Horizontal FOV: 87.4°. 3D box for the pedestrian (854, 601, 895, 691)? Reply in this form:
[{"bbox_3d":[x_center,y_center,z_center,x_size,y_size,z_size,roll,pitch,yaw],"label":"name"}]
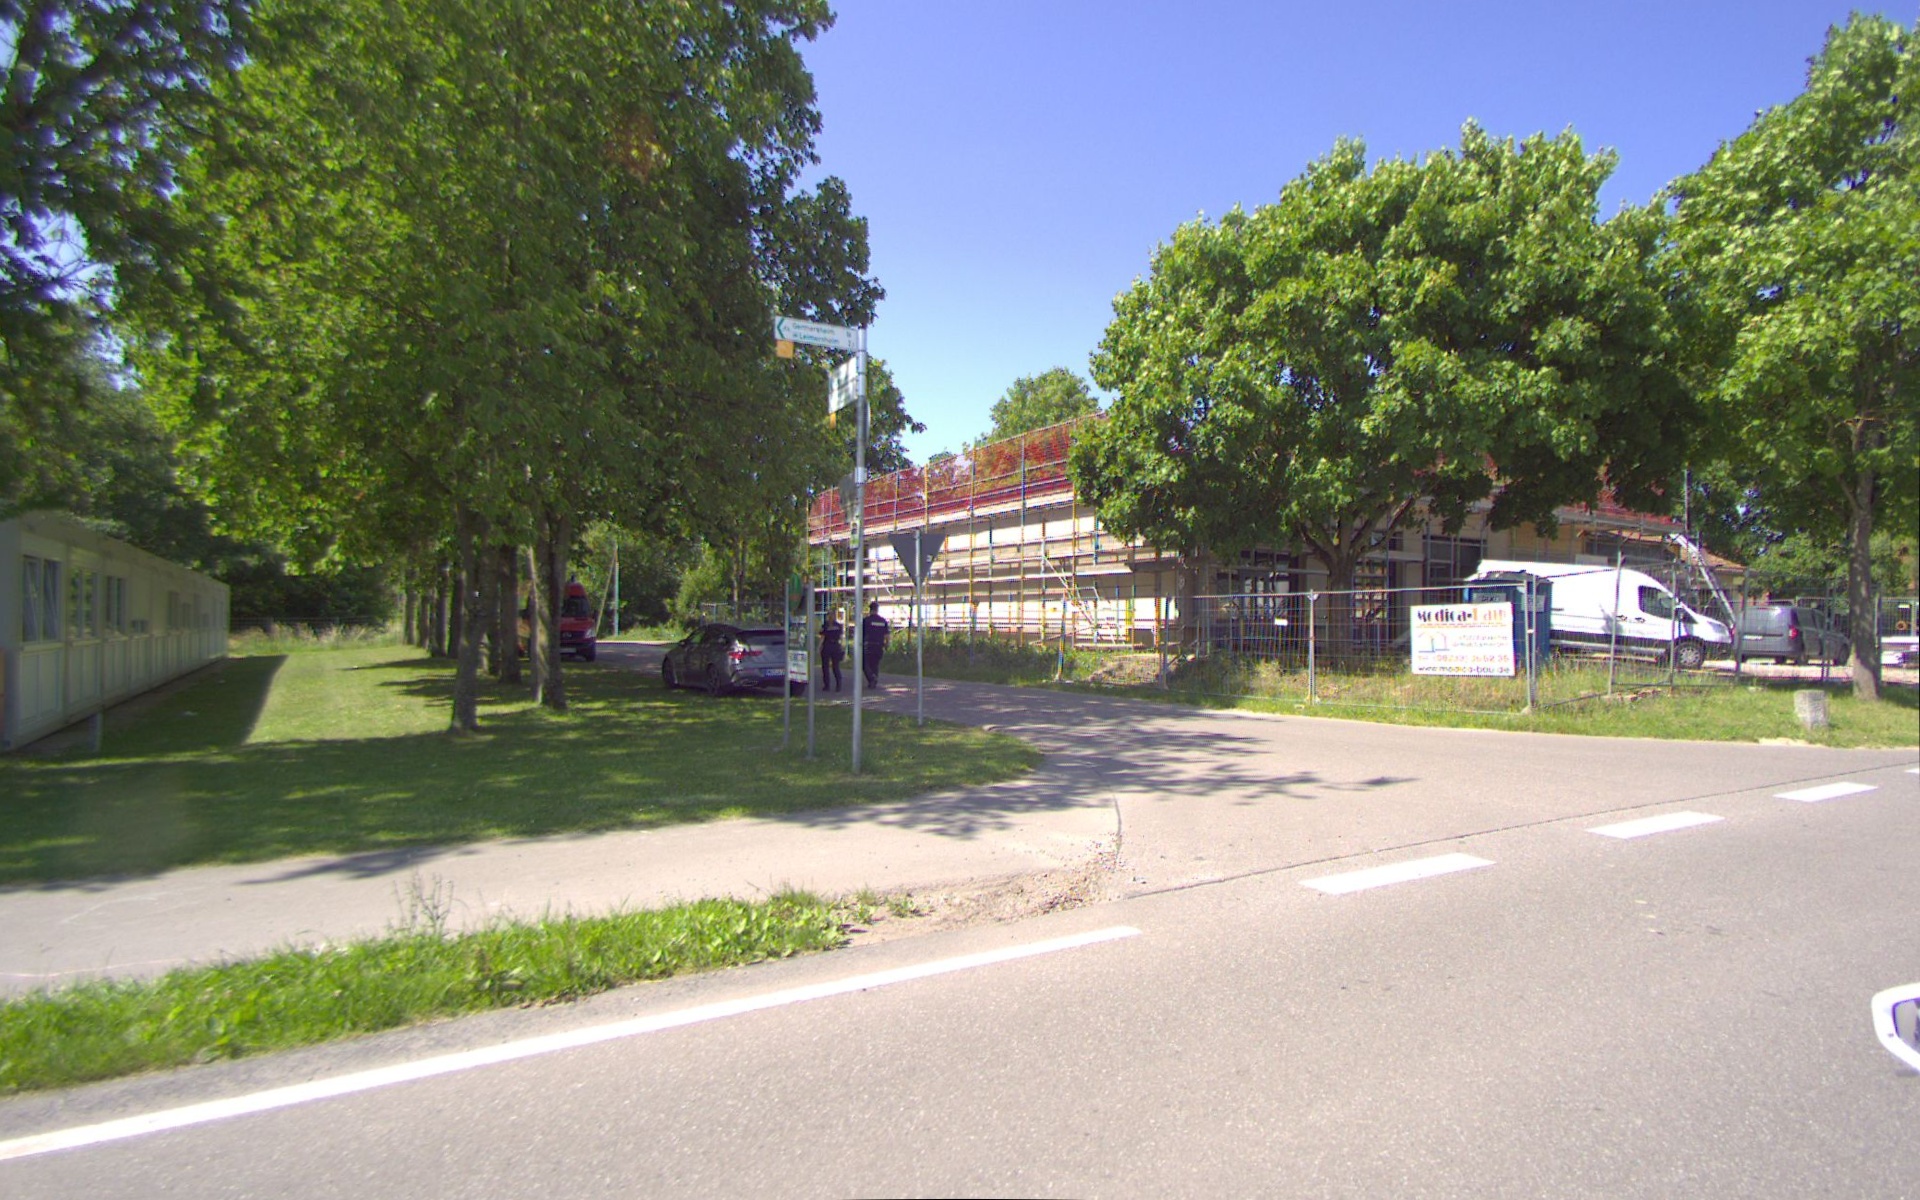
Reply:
[{"bbox_3d":[-1.731,0.927,20.290,0.582,1.774,0.598,1,-2,-40],"label":"pedestrian"}]

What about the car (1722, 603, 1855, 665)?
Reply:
[{"bbox_3d":[26.357,1.058,31.925,4.279,1.862,1.960,1,-1,-31],"label":"car"}]

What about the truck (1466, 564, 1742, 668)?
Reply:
[{"bbox_3d":[16.664,0.382,26.434,5.818,2.516,1.999,1,-1,23],"label":"truck"}]

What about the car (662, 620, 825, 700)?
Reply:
[{"bbox_3d":[-4.357,1.123,19.839,1.743,1.417,3.772,1,-2,-37],"label":"car"}]

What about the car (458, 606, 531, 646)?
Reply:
[{"bbox_3d":[-21.391,1.194,46.119,3.694,1.773,1.658,-1,-2,41],"label":"car"}]

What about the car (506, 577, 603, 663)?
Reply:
[{"bbox_3d":[-13.668,0.689,33.637,2.097,2.611,6.029,1,-2,-31],"label":"car"}]

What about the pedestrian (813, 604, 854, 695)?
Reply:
[{"bbox_3d":[-2.536,0.971,20.060,0.582,1.774,0.598,1,-2,-40],"label":"pedestrian"}]
